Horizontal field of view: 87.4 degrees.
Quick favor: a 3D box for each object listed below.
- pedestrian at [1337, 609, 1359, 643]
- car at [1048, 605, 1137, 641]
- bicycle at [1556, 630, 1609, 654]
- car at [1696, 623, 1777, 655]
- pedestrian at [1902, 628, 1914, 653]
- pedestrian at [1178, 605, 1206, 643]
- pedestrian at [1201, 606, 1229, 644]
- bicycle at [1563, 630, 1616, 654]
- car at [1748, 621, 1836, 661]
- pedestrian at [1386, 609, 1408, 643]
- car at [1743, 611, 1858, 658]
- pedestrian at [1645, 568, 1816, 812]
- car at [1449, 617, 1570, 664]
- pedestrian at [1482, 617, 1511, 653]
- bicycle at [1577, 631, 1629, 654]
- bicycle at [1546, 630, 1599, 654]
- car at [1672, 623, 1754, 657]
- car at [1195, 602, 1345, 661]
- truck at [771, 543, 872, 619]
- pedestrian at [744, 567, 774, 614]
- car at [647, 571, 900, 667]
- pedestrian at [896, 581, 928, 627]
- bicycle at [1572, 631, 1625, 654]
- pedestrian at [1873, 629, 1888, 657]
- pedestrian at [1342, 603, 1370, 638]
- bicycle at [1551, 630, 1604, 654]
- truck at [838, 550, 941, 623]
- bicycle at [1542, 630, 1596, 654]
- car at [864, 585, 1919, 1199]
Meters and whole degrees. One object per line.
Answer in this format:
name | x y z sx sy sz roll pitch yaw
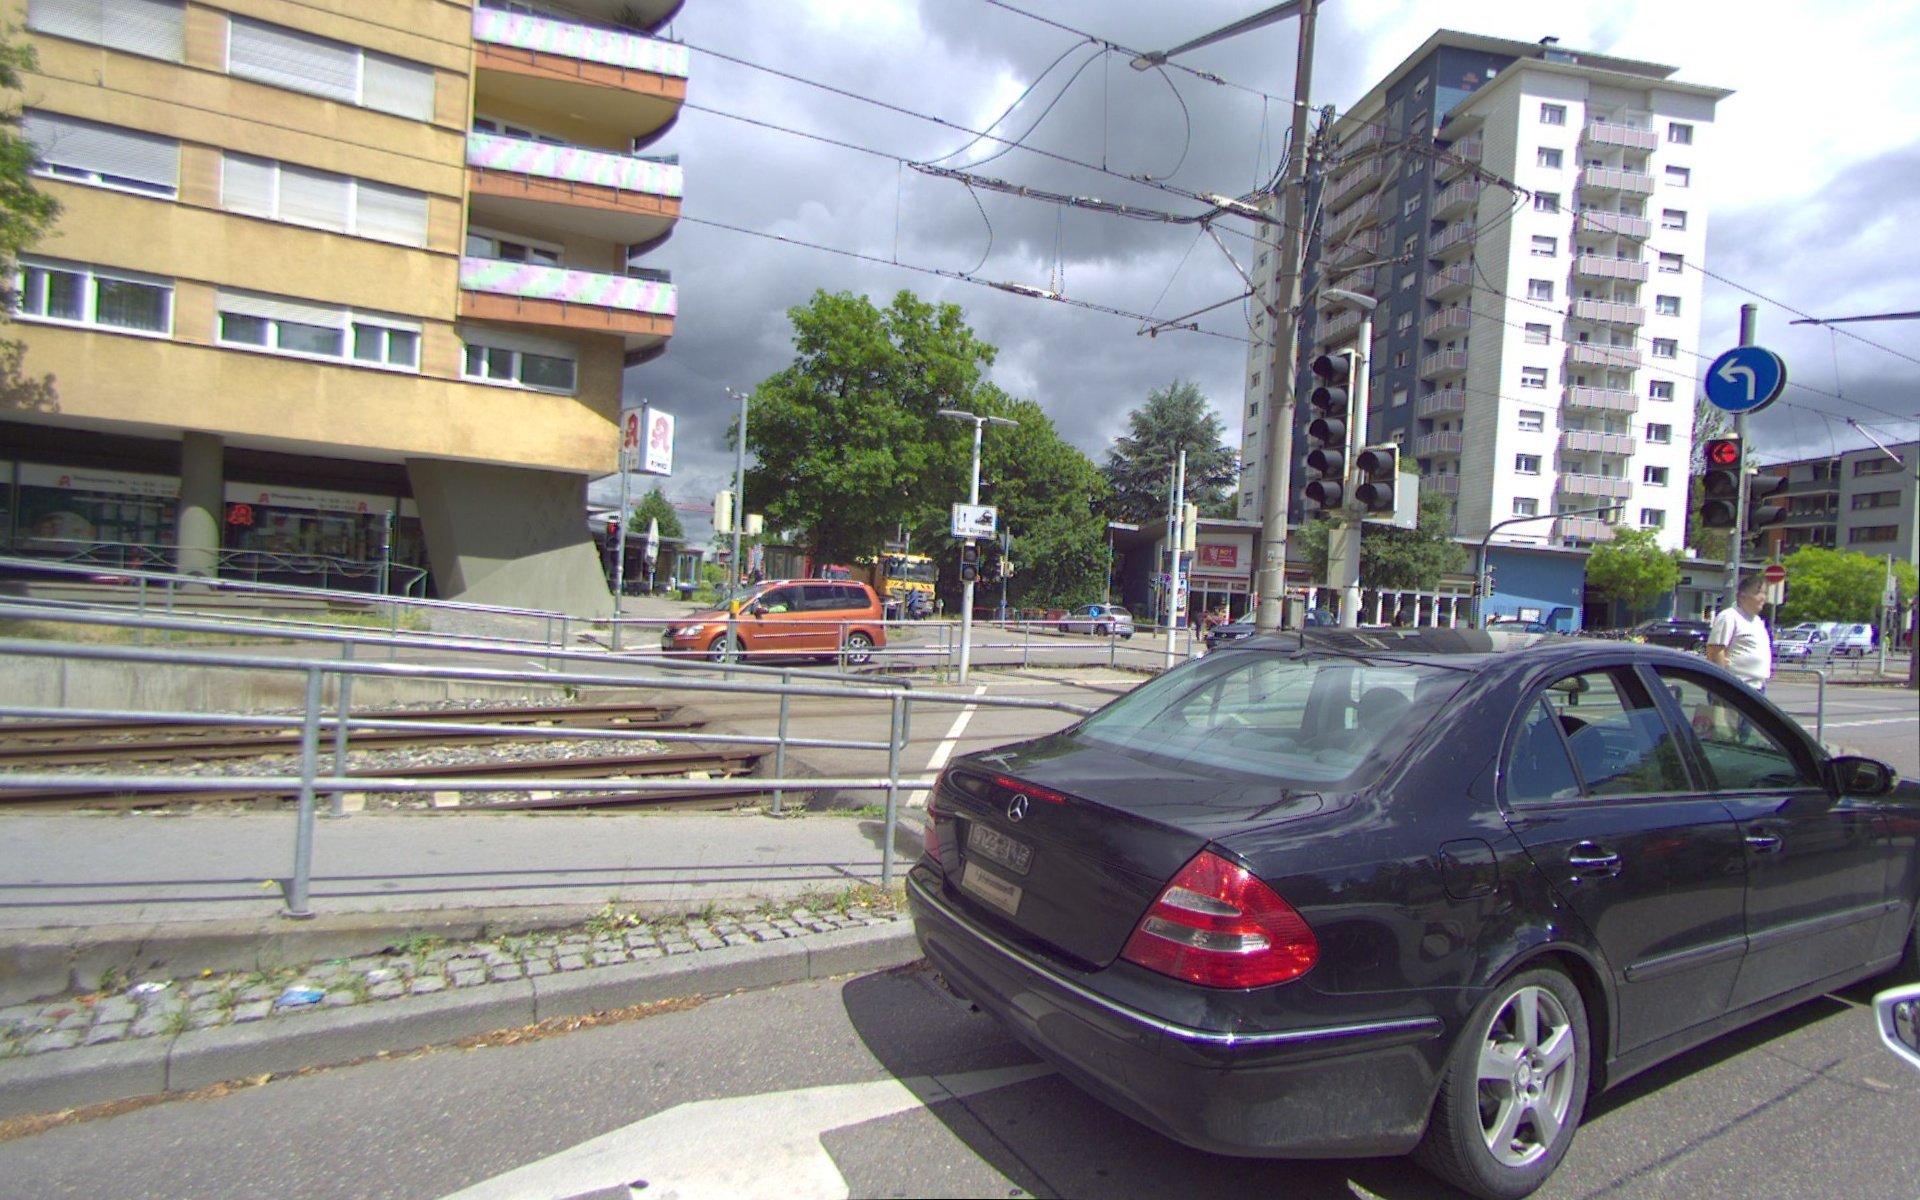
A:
pedestrian | 18.857 1.255 48.825 0.693 1.637 0.760 1 1 -42
car | 5.831 1.006 44.596 1.681 1.416 3.961 3 0 -35
bicycle | 27.378 1.846 44.179 0.490 0.947 1.934 2 0 -35
car | 42.763 2.094 55.427 1.921 1.558 4.220 2 0 13
pedestrian | 66.973 2.890 70.957 0.401 1.739 0.542 1 1 -39
pedestrian | 10.524 1.100 45.535 0.977 1.681 0.969 2 -1 -4
pedestrian | 11.598 1.135 45.735 0.977 1.681 0.969 2 -1 -4
bicycle | 27.841 1.862 44.457 0.490 0.947 1.934 2 0 -35
car | 38.801 1.889 46.825 3.827 1.715 1.928 2 0 -30
pedestrian | 21.361 1.268 49.110 0.693 1.637 0.760 1 1 -43
car | 49.796 1.966 59.765 2.776 2.512 6.724 2 0 17
pedestrian | 6.206 0.678 8.107 0.734 1.832 0.863 1 1 -33
car | 18.502 1.359 33.746 4.446 1.418 1.625 2 0 -33
pedestrian | 26.151 1.694 48.965 0.935 1.681 1.092 1 -1 44
bicycle | 28.811 1.895 45.034 0.490 0.947 1.934 2 0 -35
bicycle | 26.581 1.819 43.619 0.490 0.947 1.934 2 0 -35
car | 40.153 2.107 53.687 1.921 1.591 4.220 2 0 13
car | 8.462 0.866 27.323 4.211 1.432 1.619 3 -1 -34
truck | -6.969 -0.886 49.149 2.692 3.320 8.877 1 0 -22
pedestrian | -7.257 -0.344 36.266 0.753 1.638 0.777 5 5 37
car | -3.566 0.385 19.478 4.415 1.656 1.981 1 -1 -35
pedestrian | -1.865 0.148 39.121 0.773 1.636 0.758 6 2 -35
bicycle | 28.420 1.881 44.744 0.490 0.947 1.934 2 0 -35
pedestrian | 58.359 2.704 63.672 0.663 1.739 0.542 1 1 -40
pedestrian | 22.098 1.146 56.115 1.200 1.942 0.860 1 1 -30
bicycle | 26.992 1.833 43.907 0.490 0.947 1.934 2 0 -35
truck | -3.595 -0.625 49.205 2.733 3.244 7.443 1 0 -23
bicycle | 26.230 1.806 43.312 0.490 0.947 1.934 2 0 -35
car | 2.047 0.758 3.809 4.490 1.481 1.720 2 0 -30
